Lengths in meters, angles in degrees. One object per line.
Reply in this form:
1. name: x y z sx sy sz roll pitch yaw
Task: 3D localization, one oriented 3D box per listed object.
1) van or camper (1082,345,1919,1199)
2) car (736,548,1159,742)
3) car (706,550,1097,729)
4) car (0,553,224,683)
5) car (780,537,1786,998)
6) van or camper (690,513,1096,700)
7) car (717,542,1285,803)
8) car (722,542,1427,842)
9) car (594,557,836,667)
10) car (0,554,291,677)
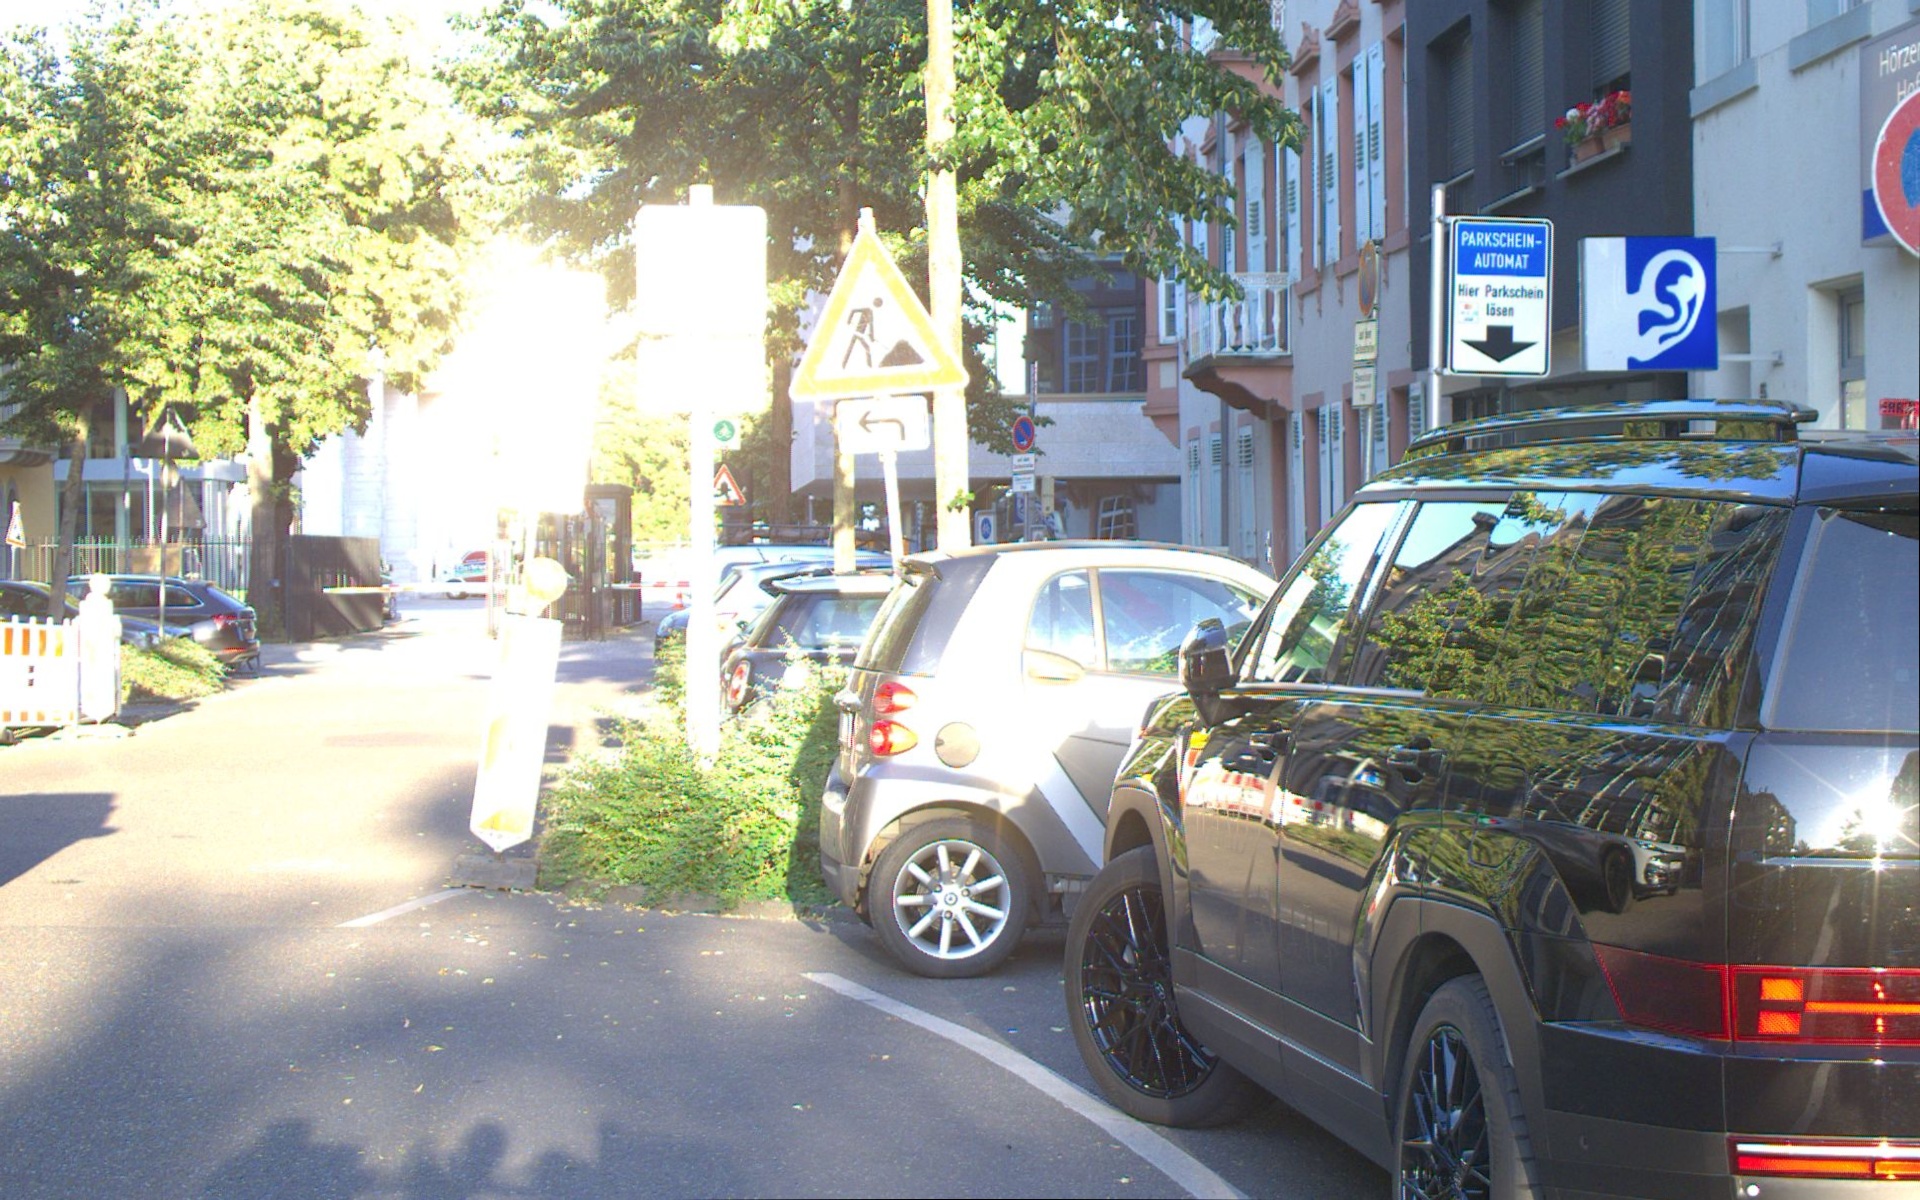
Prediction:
1. van or camper: 1.595 0.508 7.212 1.889 1.801 4.462 0 1 -8
2. car: -0.162 0.393 31.346 3.684 1.664 1.859 1 1 -5
3. car: -0.616 0.368 33.681 3.684 1.664 1.859 1 1 -5
4. car: -11.975 0.223 45.696 3.987 1.678 1.891 0 1 -1
5. car: 1.159 0.562 12.934 3.469 1.570 1.508 -1 1 -11
6. van or camper: -0.800 0.067 38.875 4.439 1.999 1.859 1 1 -5
7. car: 0.216 0.470 23.447 3.684 1.664 1.859 1 1 -5
8. car: 0.607 0.521 20.571 3.994 1.664 1.859 1 1 -5
9. car: -3.629 0.167 51.533 1.855 1.563 3.691 1 1 30
10. car: -11.593 0.206 48.396 3.987 1.678 1.891 0 1 -1
